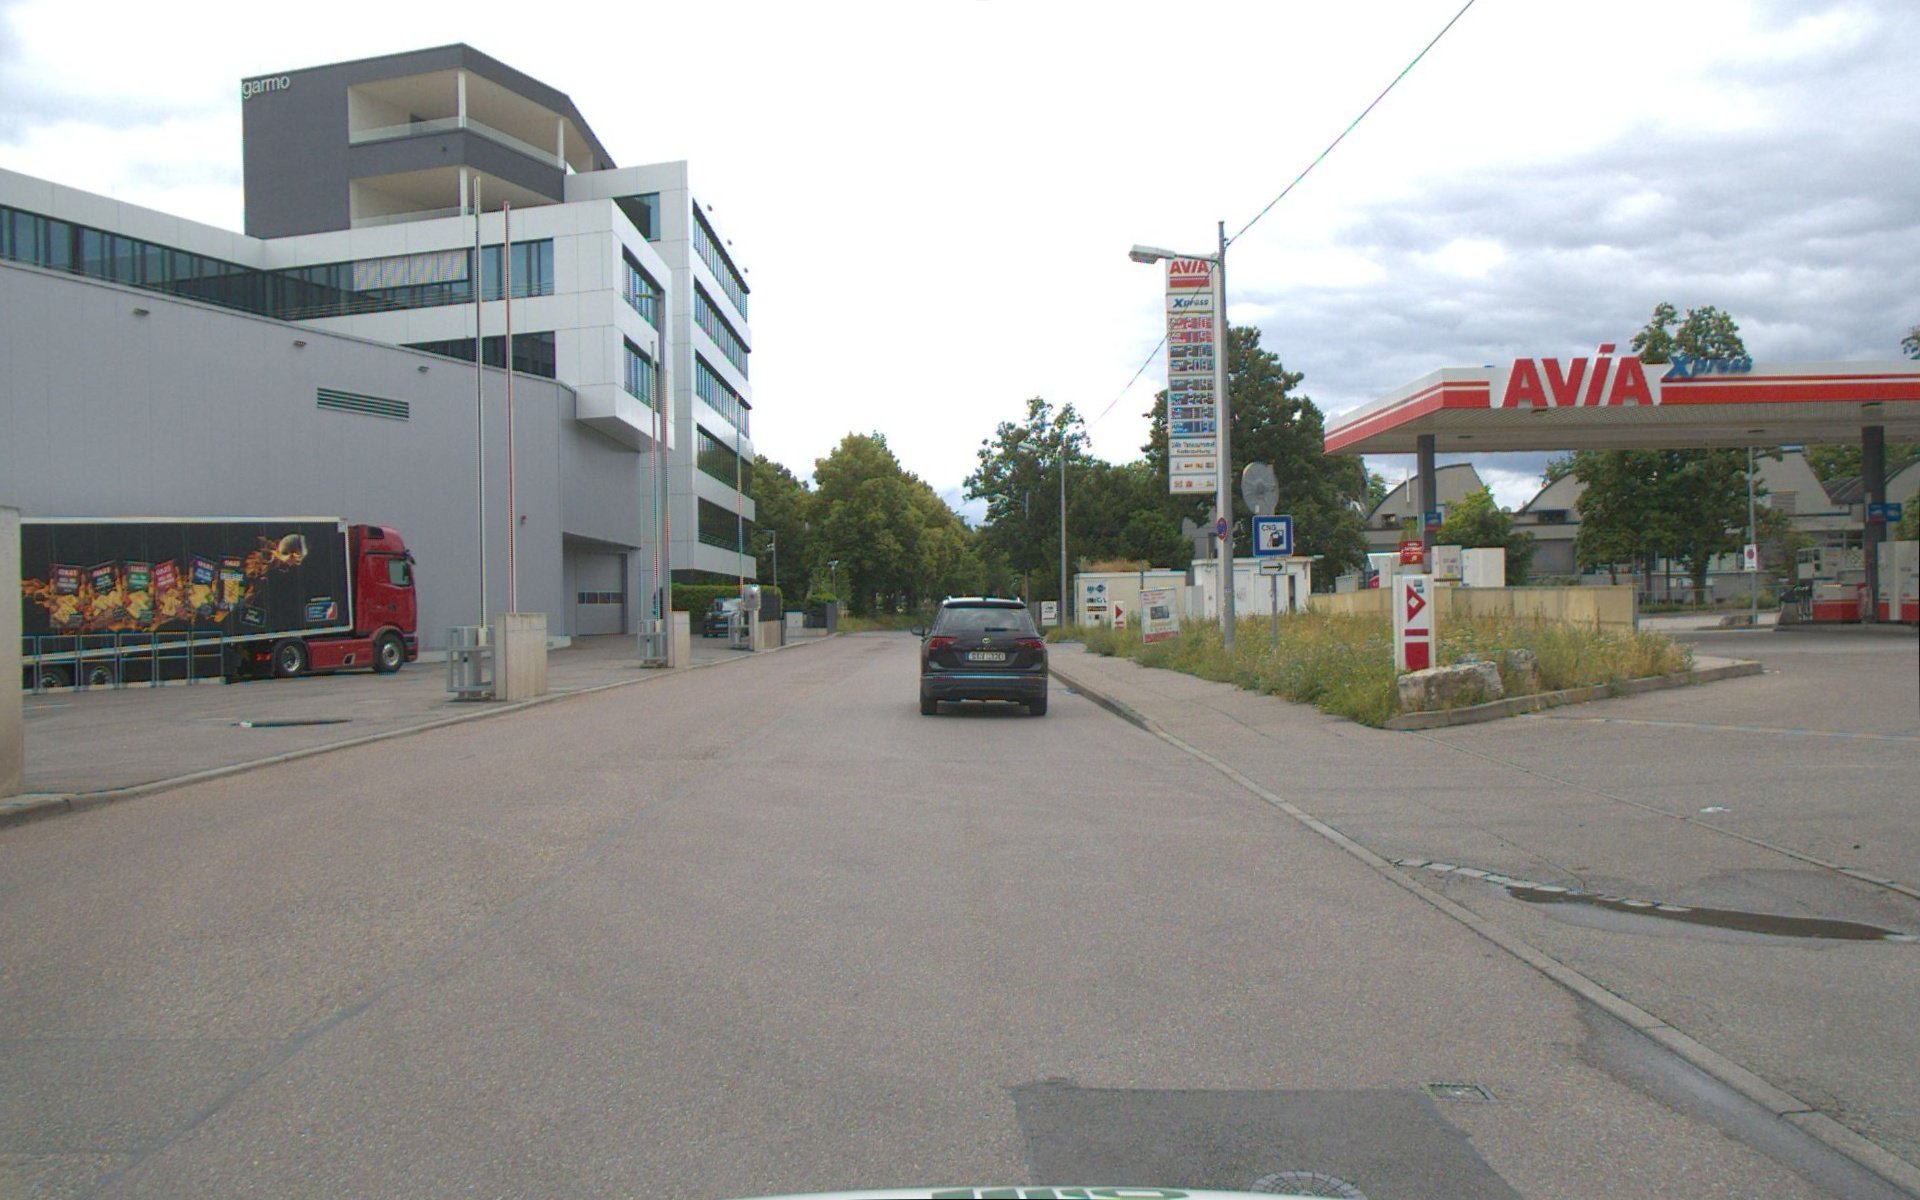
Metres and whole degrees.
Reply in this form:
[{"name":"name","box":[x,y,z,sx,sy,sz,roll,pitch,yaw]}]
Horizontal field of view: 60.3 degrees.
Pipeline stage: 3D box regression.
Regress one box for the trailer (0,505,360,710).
[{"name":"trailer","box":[-19.003,0.156,37.525,2.685,4.101,12.621,-1,0,20]}]

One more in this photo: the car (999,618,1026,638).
[{"name":"car","box":[4.850,2.561,152.839,1.951,1.818,4.003,-1,-1,10]}]

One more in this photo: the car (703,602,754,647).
[{"name":"car","box":[-9.520,0.995,68.256,1.616,1.793,3.179,0,-1,1]}]

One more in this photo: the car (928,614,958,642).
[{"name":"car","box":[-1.063,1.765,104.596,1.801,1.645,3.999,-1,0,-1]}]

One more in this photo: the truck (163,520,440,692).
[{"name":"truck","box":[-16.980,0.148,43.255,2.685,4.101,7.094,-1,0,20]}]

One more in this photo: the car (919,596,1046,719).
[{"name":"car","box":[0.358,0.784,24.014,1.703,1.646,3.642,0,-1,2]}]

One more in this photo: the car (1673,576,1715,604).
[{"name":"car","box":[43.919,-0.594,99.053,1.864,1.547,4.066,-2,0,18]}]

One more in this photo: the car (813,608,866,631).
[{"name":"car","box":[-14.089,2.278,193.598,5.944,2.429,2.395,-2,0,2]}]
